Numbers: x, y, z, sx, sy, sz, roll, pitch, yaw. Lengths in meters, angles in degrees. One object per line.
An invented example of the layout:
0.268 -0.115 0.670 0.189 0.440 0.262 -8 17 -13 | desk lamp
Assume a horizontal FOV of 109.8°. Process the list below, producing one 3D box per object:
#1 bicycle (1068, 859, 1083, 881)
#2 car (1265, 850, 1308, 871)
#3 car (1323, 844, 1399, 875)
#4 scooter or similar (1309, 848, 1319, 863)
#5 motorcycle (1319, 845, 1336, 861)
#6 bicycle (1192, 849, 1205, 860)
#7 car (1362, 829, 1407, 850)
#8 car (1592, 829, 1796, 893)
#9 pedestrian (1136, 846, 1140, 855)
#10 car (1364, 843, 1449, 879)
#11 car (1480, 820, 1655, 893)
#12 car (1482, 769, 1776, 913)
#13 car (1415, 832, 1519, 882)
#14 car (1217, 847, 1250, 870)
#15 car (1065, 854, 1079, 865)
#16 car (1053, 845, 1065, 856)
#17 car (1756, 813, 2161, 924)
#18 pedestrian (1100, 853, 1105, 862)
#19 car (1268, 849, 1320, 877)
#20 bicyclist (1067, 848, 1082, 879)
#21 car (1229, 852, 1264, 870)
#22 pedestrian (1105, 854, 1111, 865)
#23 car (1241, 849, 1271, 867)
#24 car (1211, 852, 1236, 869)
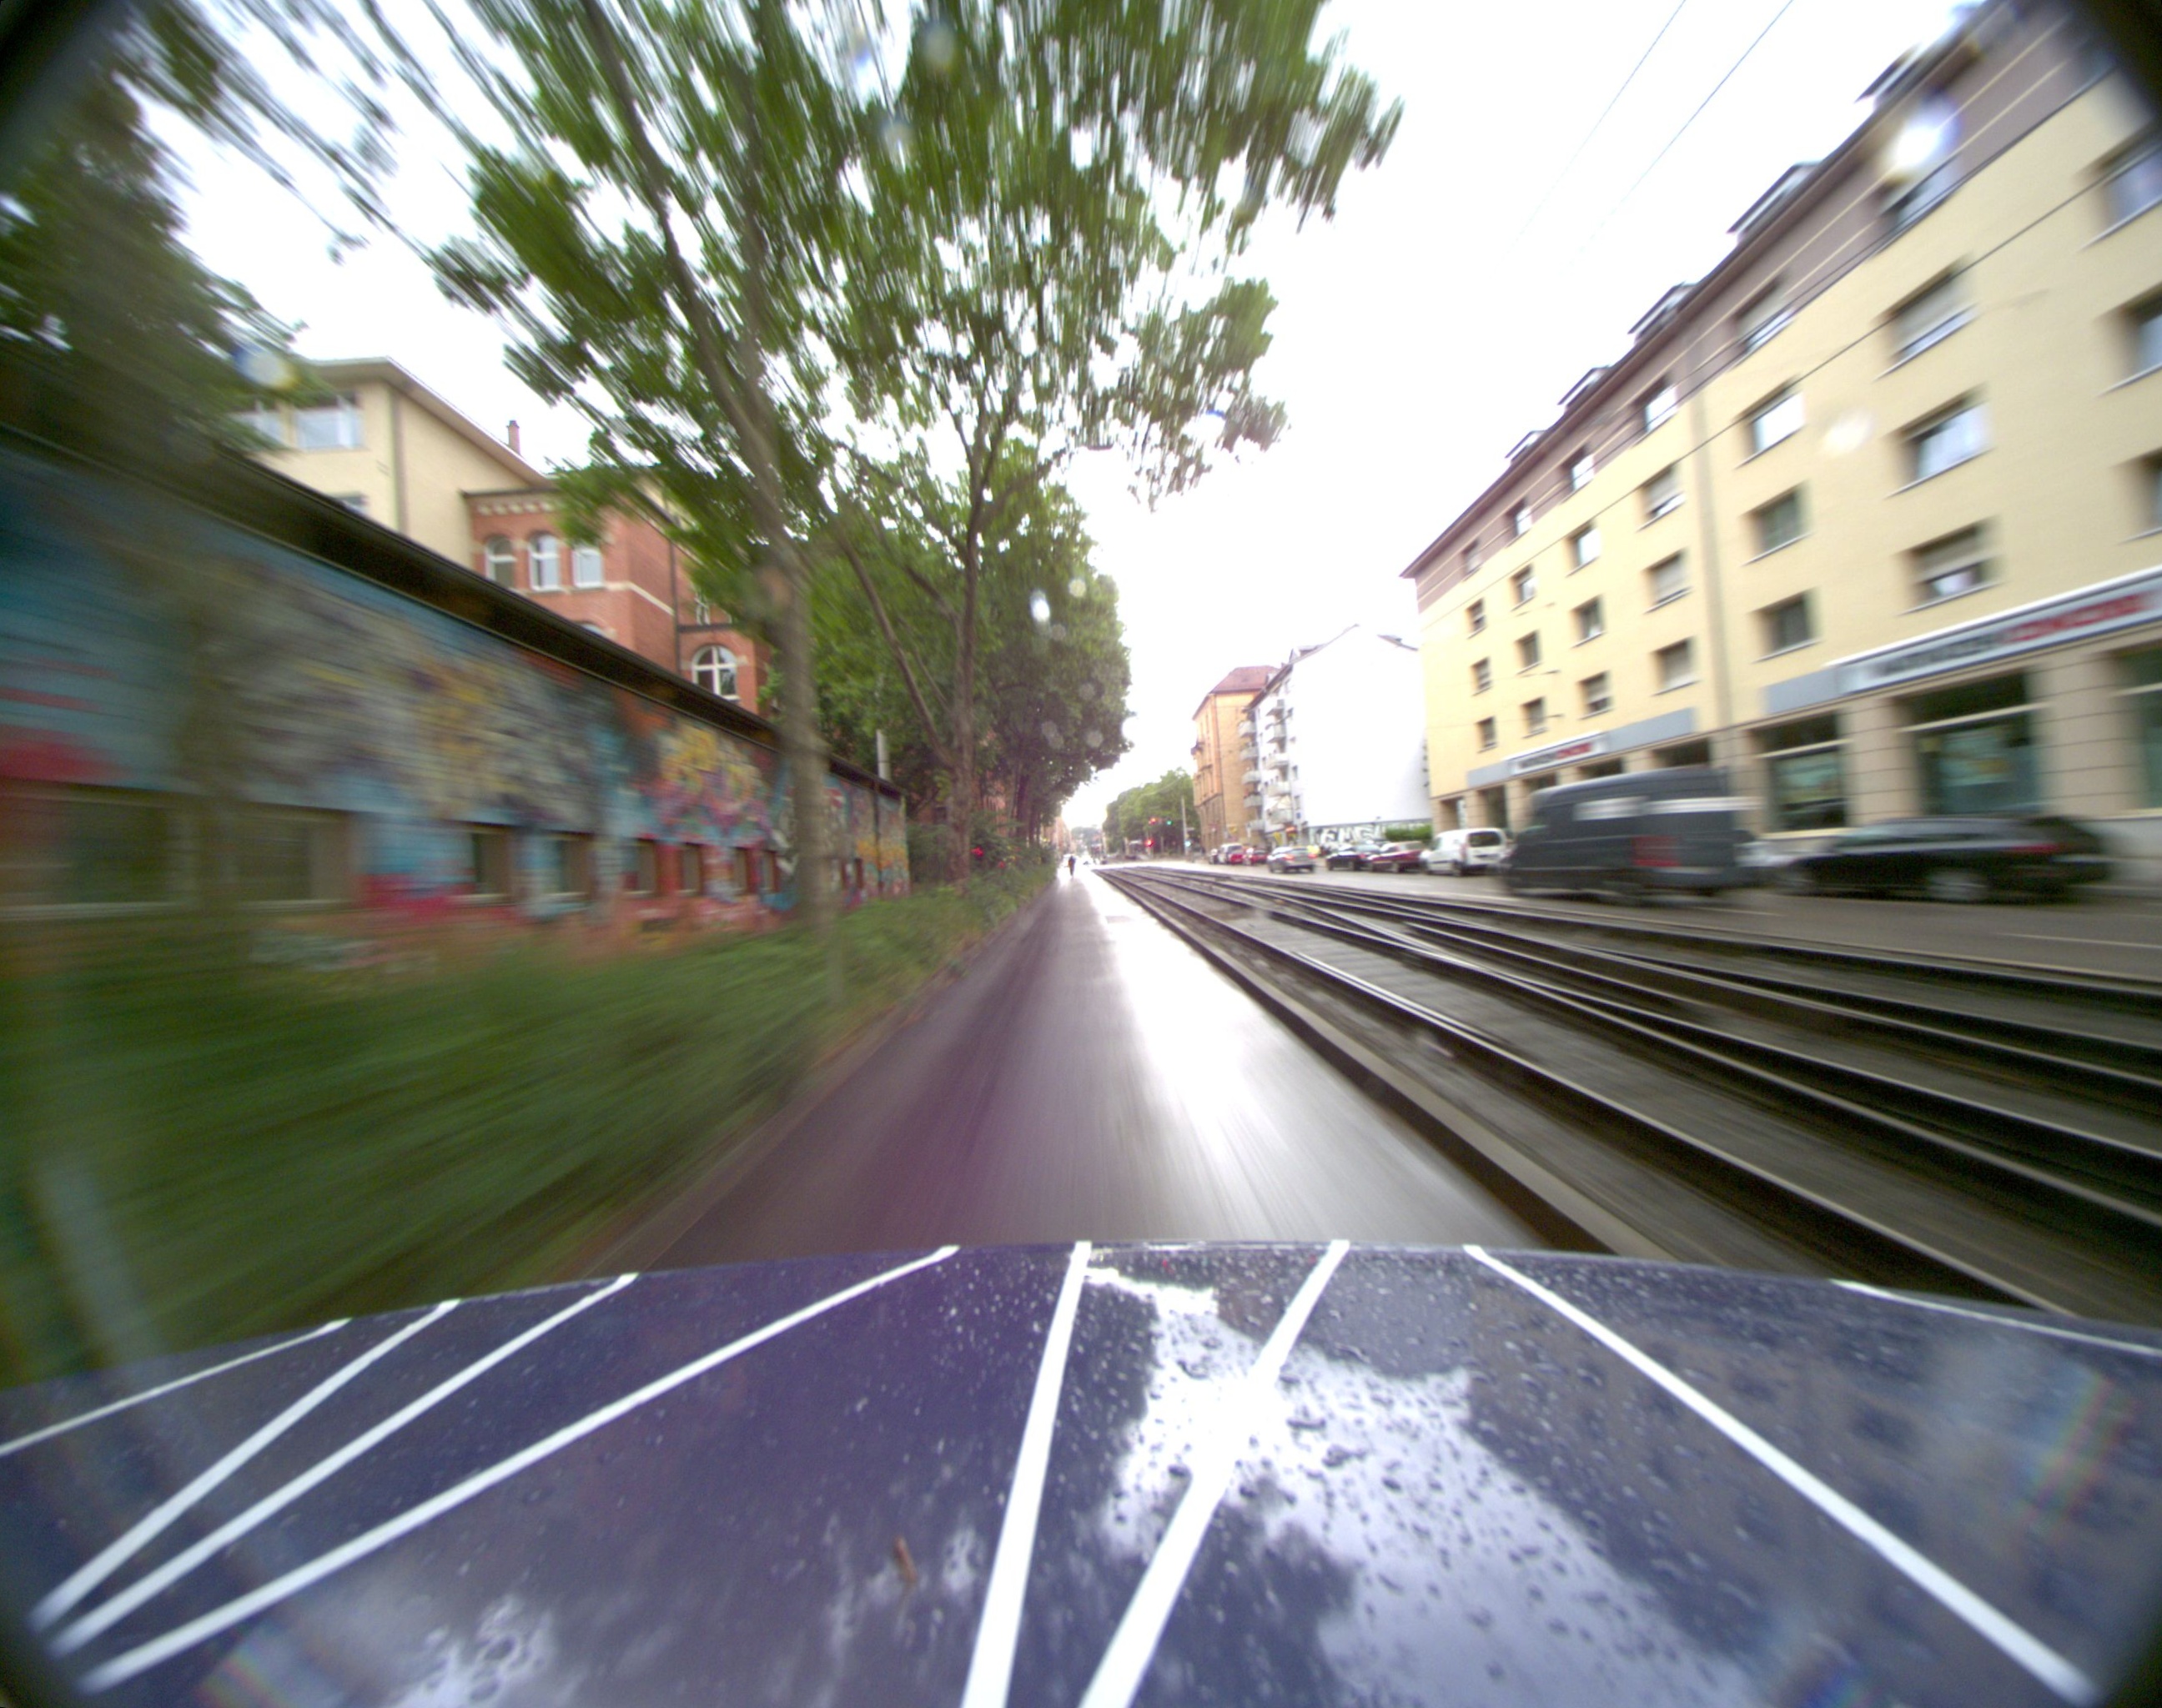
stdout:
-0.407 1.164 56.887 0.936 1.545 3.135 -3 0 2 | bicycle
14.701 0.456 54.586 1.684 1.388 4.621 -3 0 -1 | car
15.058 0.297 41.196 1.857 1.499 4.989 -3 0 -5 | car
19.561 0.114 63.826 0.623 1.193 1.897 -6 -1 20 | scooter or similar
20.405 -0.086 62.937 0.641 1.193 1.784 -7 2 -1 | motorcycle
20.102 0.055 129.760 2.097 1.689 0.556 -4 4 -6 | bicycle
21.964 -1.002 55.117 1.874 1.295 4.480 -4 -1 7 | car
15.081 0.167 19.015 1.696 1.431 4.048 -1 0 -3 | car
13.475 -0.796 179.037 0.837 2.050 0.884 -3 1 -4 | pedestrian
15.234 0.293 35.892 1.856 1.424 4.831 -5 0 0 | car
15.058 0.076 24.028 1.998 1.893 5.460 -5 0 1 | car
11.293 -0.262 16.460 1.998 2.437 5.997 -3 1 1 | car
15.178 0.104 30.146 1.871 1.707 4.460 -3 0 2 | car
14.996 0.426 75.009 2.075 1.997 5.302 -6 0 0 | car
-1.221 0.741 107.790 1.884 1.438 3.999 -4 0 -1 | car
-4.409 -0.698 152.301 1.825 1.893 5.991 -4 0 2 | car
14.992 0.228 13.498 1.818 1.490 4.582 -5 0 0 | car
3.678 0.585 130.211 0.837 1.595 1.001 -3 1 -2 | pedestrian
11.955 0.496 42.969 1.716 1.454 4.280 -3 0 1 | car
-0.493 0.723 56.672 0.920 2.250 1.287 -3 1 2 | bicyclist
15.329 0.641 70.261 1.781 1.425 3.989 -4 0 34 | car
4.640 0.940 130.163 0.827 1.788 1.001 -3 1 -2 | pedestrian
14.770 0.321 64.306 1.657 1.443 4.074 -3 0 2 | car
15.071 0.707 80.501 1.737 1.641 4.363 -4 0 -1 | car
